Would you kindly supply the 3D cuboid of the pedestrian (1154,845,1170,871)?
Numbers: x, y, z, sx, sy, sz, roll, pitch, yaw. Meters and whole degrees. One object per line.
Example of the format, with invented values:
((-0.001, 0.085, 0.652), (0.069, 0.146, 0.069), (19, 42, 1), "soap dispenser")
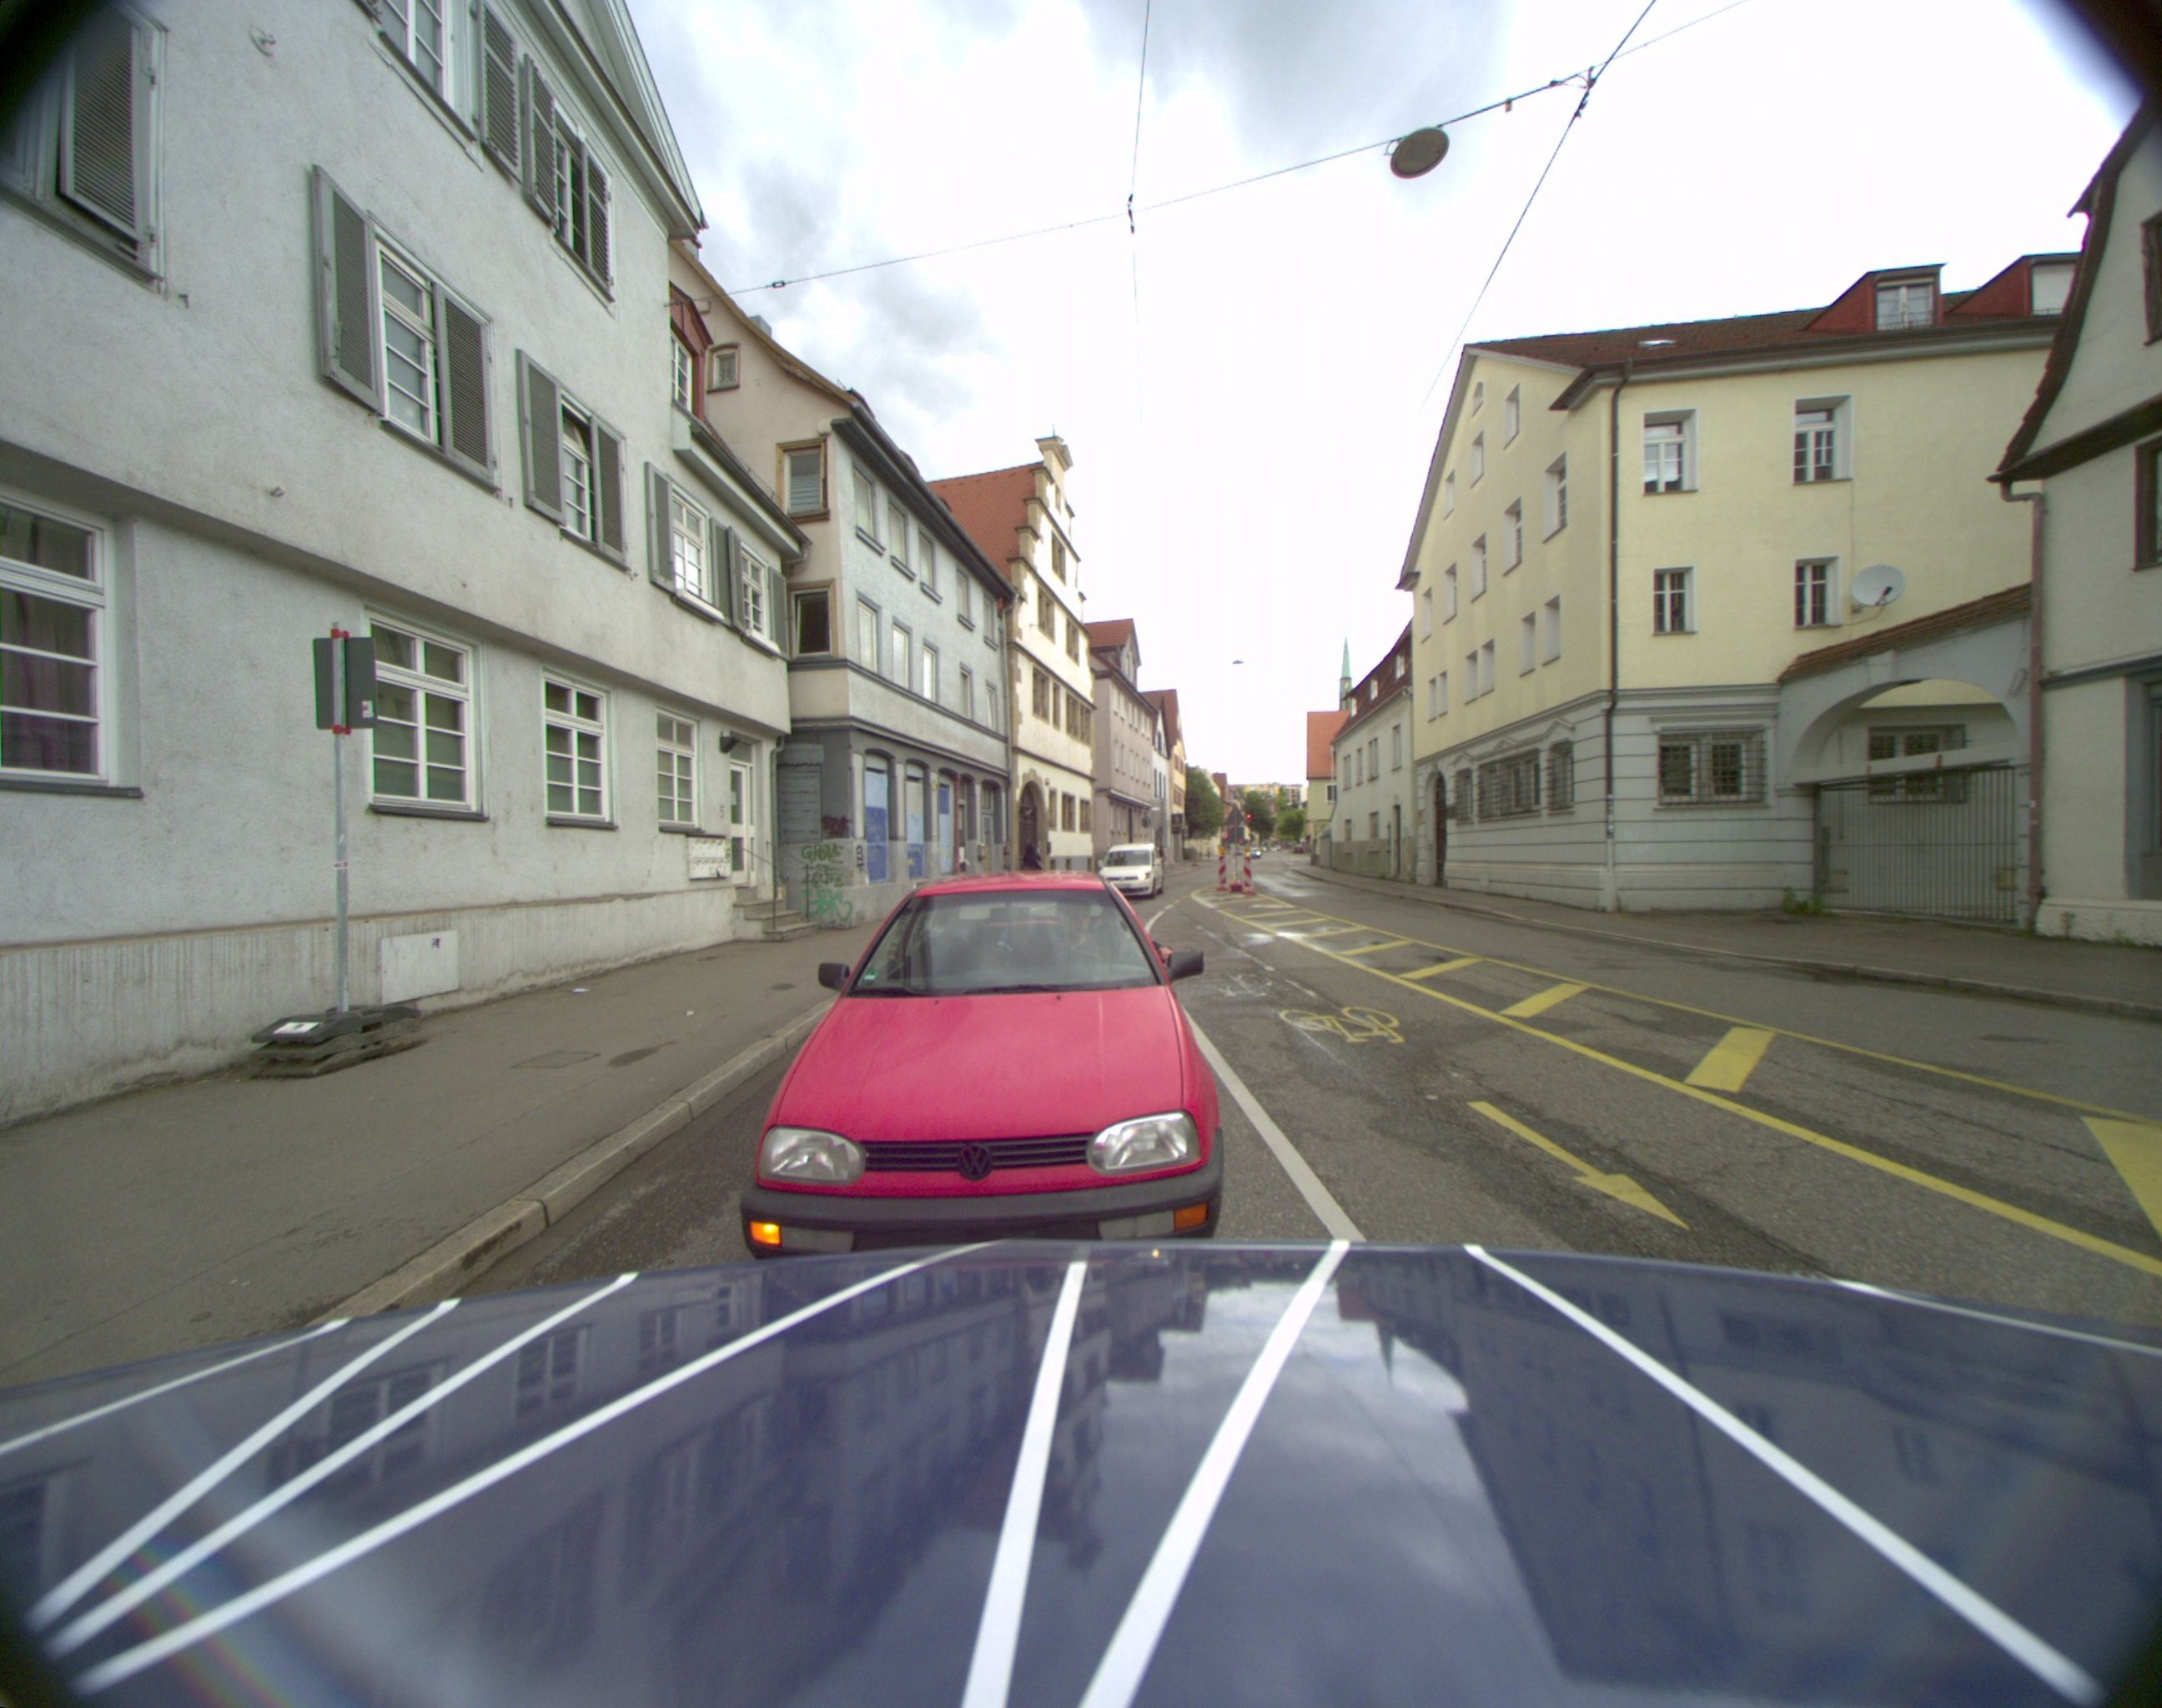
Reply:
((5.168, 0.258, 48.253), (0.833, 1.646, 0.945), (-1, 1, 15), "pedestrian")

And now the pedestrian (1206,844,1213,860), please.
((18.605, -0.307, 110.205), (0.901, 2.297, 0.821), (-1, 0, 13), "pedestrian")

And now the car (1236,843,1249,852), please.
((28.340, -1.152, 133.622), (2.031, 1.546, 4.004), (0, 1, 14), "car")

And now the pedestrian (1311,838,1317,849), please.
((42.932, -1.865, 140.019), (0.835, 2.002, 0.846), (-1, 1, 13), "pedestrian")

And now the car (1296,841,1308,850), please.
((42.675, -1.697, 146.798), (2.210, 1.668, 4.502), (0, 1, 14), "car")

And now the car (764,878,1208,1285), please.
((-0.337, 0.947, 4.950), (1.685, 1.418, 4.021), (-1, 0, 1), "car")

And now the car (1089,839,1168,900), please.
((1.671, 0.421, 24.867), (1.997, 1.777, 4.470), (0, 2, 11), "car")

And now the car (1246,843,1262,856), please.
((23.087, -0.644, 101.336), (1.996, 1.669, 4.004), (-1, 1, 15), "car")

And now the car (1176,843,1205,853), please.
((16.314, -0.913, 113.630), (3.992, 1.455, 2.002), (-1, 2, 17), "car")

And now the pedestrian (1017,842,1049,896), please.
((-1.532, 0.467, 24.296), (0.756, 1.658, 0.810), (2, 1, 15), "pedestrian")
